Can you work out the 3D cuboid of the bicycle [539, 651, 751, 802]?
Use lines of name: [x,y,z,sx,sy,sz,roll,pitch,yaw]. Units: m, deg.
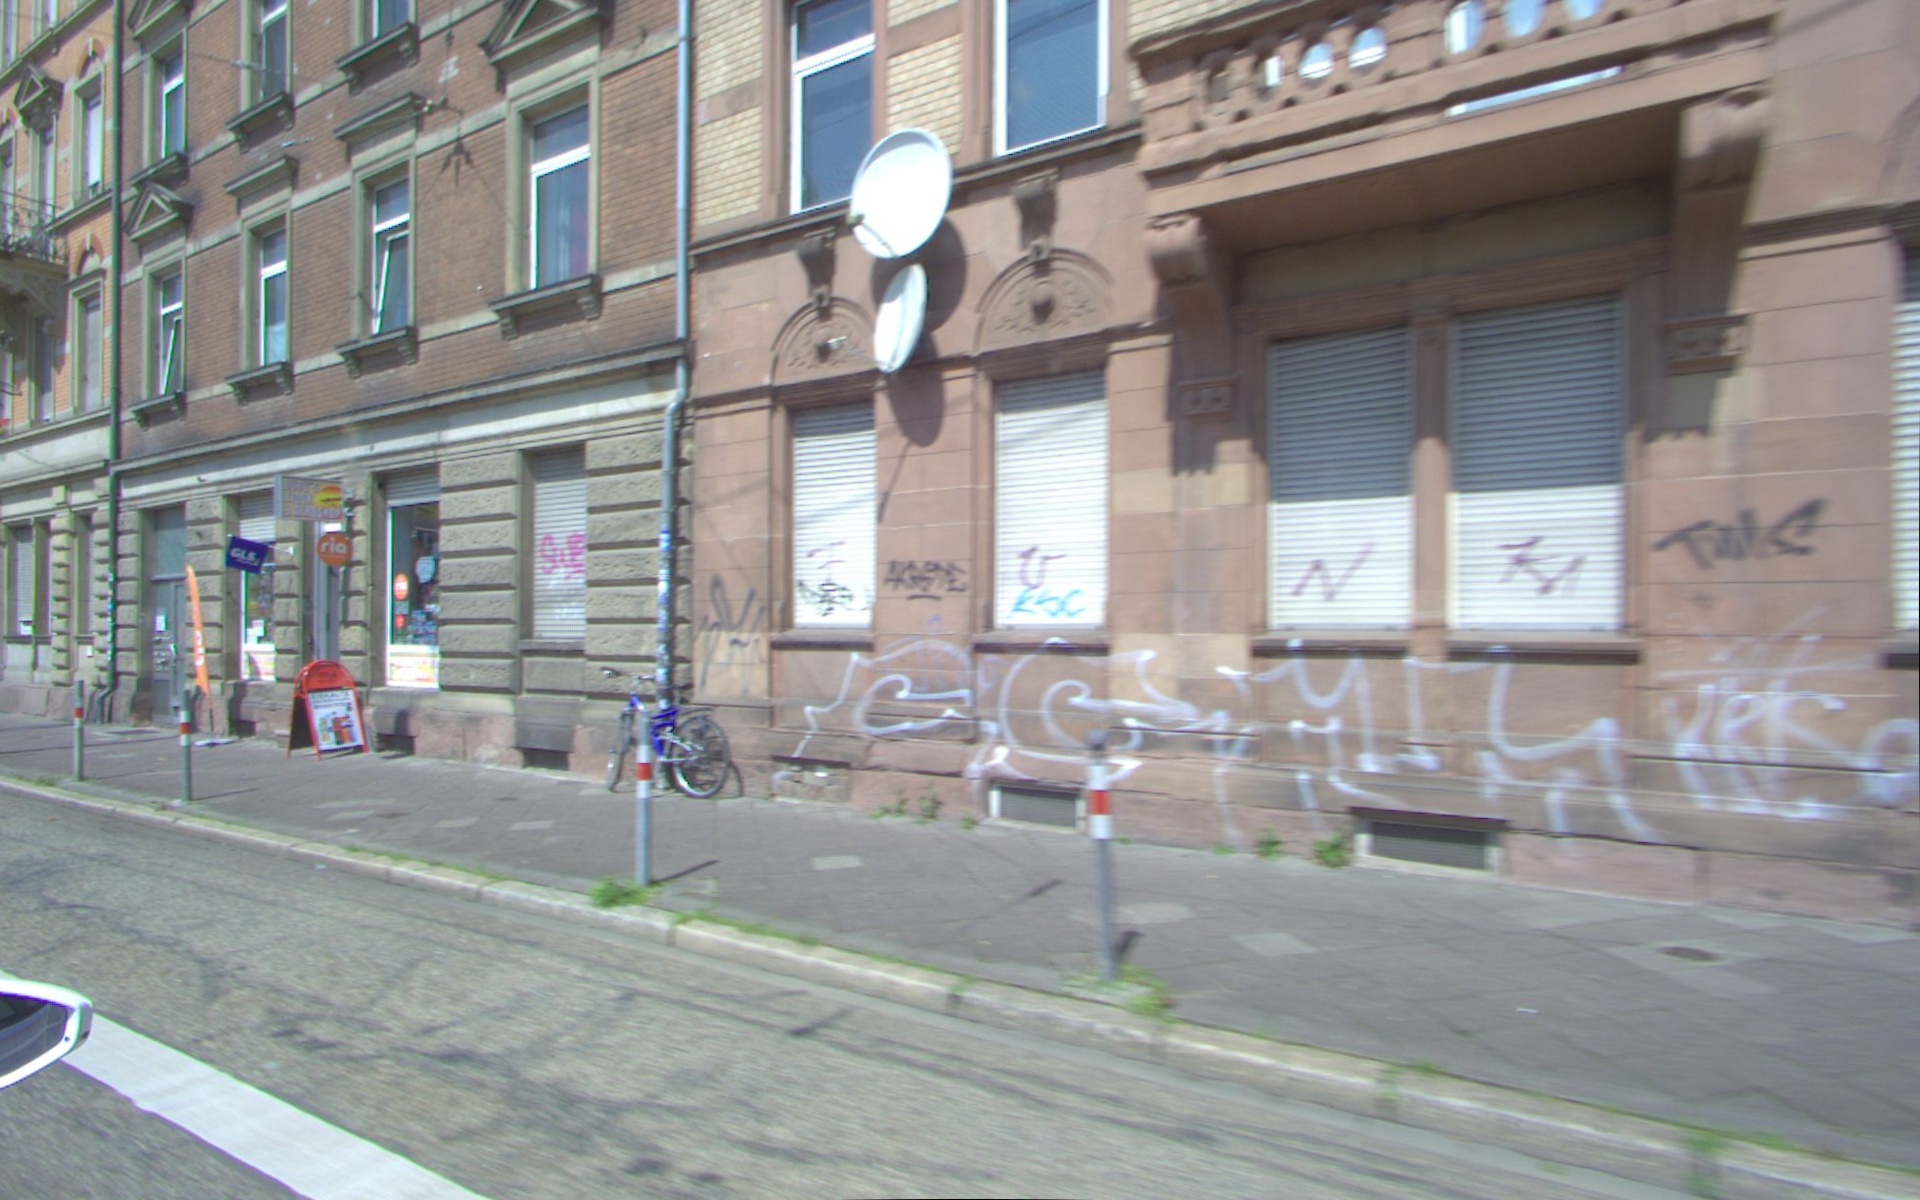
bicycle: [-2.901,1.086,9.112,2.173,1.193,0.585,-1,-1,33]
